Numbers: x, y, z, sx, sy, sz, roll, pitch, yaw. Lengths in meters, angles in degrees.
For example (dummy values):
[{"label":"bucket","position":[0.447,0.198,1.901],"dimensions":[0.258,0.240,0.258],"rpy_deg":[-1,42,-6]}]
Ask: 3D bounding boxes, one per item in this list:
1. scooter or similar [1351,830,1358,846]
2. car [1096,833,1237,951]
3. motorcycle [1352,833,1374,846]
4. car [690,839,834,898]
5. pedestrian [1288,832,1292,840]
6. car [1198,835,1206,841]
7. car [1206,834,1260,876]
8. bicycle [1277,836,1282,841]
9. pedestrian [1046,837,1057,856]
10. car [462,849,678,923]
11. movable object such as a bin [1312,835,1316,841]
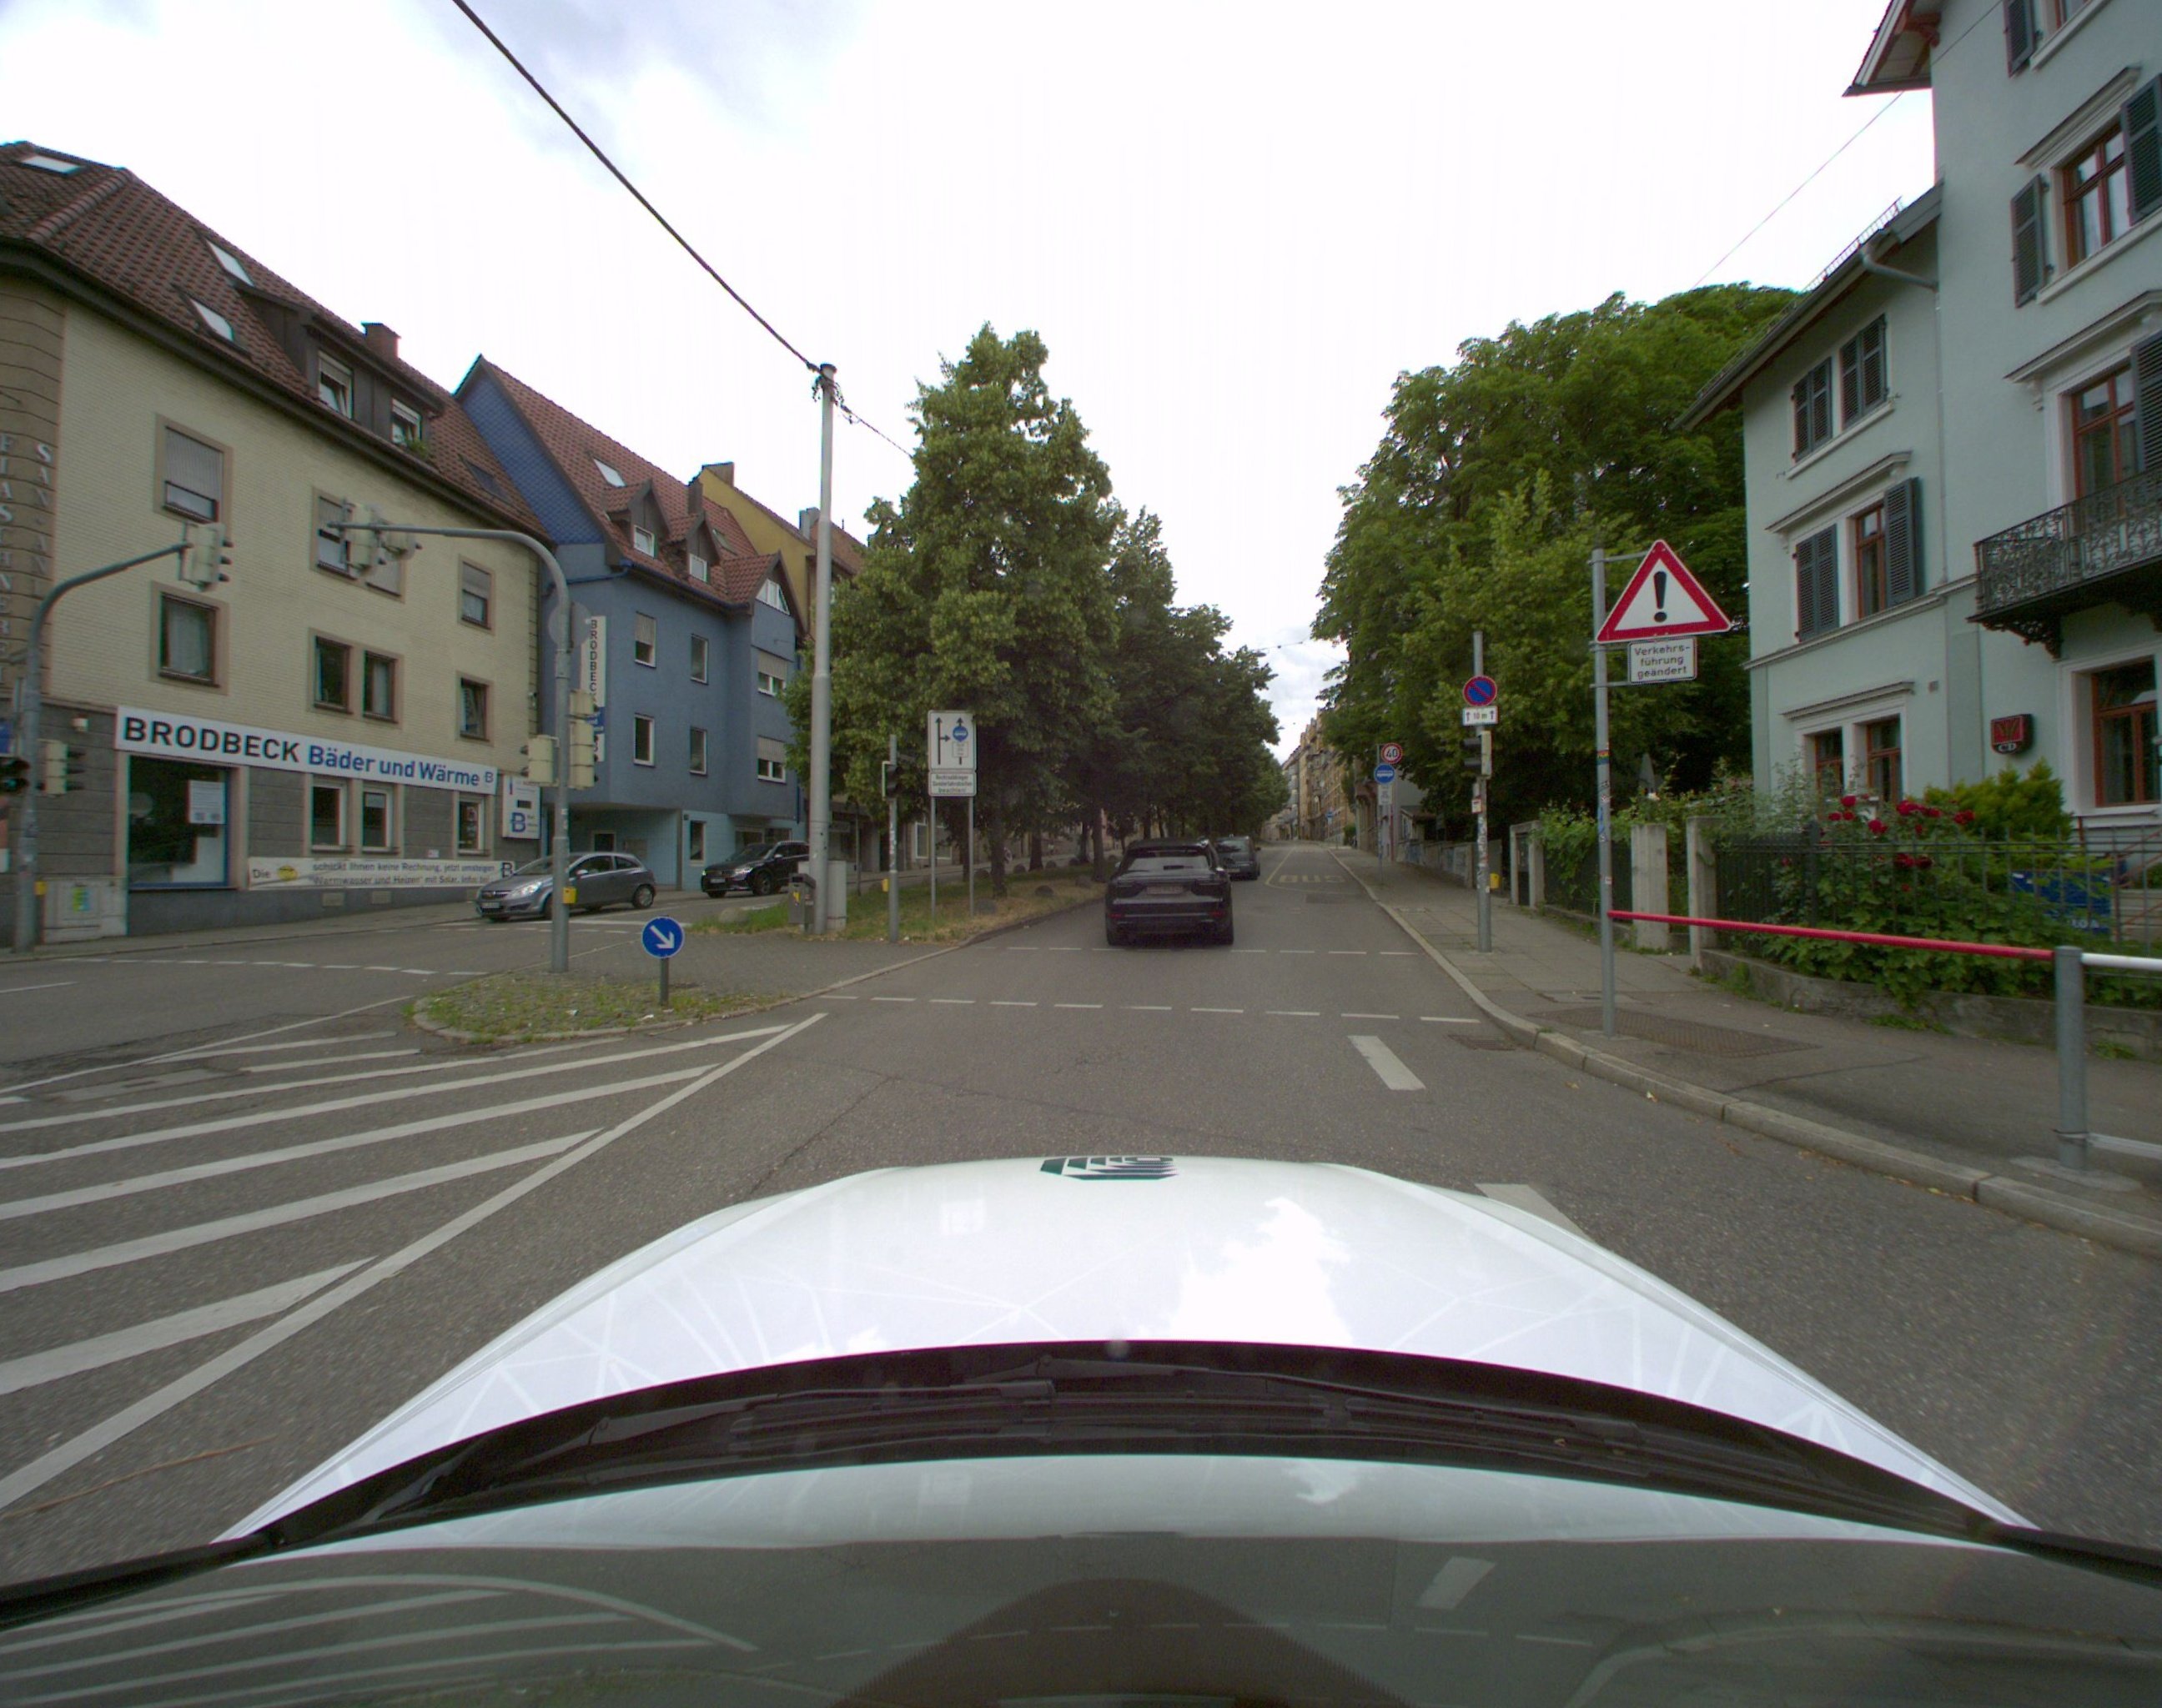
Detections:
[{"label":"scooter or similar","position":[22.368,-1.280,66.504],"dimensions":[0.407,1.209,1.150],"rpy_deg":[-4,3,15]},{"label":"car","position":[1.567,0.515,13.781],"dimensions":[1.981,1.665,4.011],"rpy_deg":[-2,1,10]},{"label":"motorcycle","position":[28.979,-1.509,83.813],"dimensions":[2.042,1.267,1.013],"rpy_deg":[0,1,11]},{"label":"car","position":[-9.993,0.420,25.992],"dimensions":[1.803,1.637,4.697],"rpy_deg":[-3,0,14]},{"label":"pedestrian","position":[44.900,-3.815,174.942],"dimensions":[0.746,1.693,0.861],"rpy_deg":[-1,-1,10]},{"label":"car","position":[27.846,-3.716,186.995],"dimensions":[1.698,1.382,4.682],"rpy_deg":[-3,1,10]},{"label":"car","position":[5.748,0.038,30.571],"dimensions":[1.750,1.465,3.606],"rpy_deg":[0,0,14]},{"label":"bicycle","position":[47.322,-3.702,193.958],"dimensions":[0.874,1.129,2.986],"rpy_deg":[0,-1,8]},{"label":"pedestrian","position":[-2.329,-0.585,64.915],"dimensions":[0.693,1.460,0.707],"rpy_deg":[0,2,16]},{"label":"car","position":[-11.708,0.662,19.073],"dimensions":[1.657,1.406,4.310],"rpy_deg":[-2,1,13]},{"label":"movable object such as a bin","position":[38.368,-2.638,134.219],"dimensions":[0.590,0.904,0.564],"rpy_deg":[0,0,10]}]
